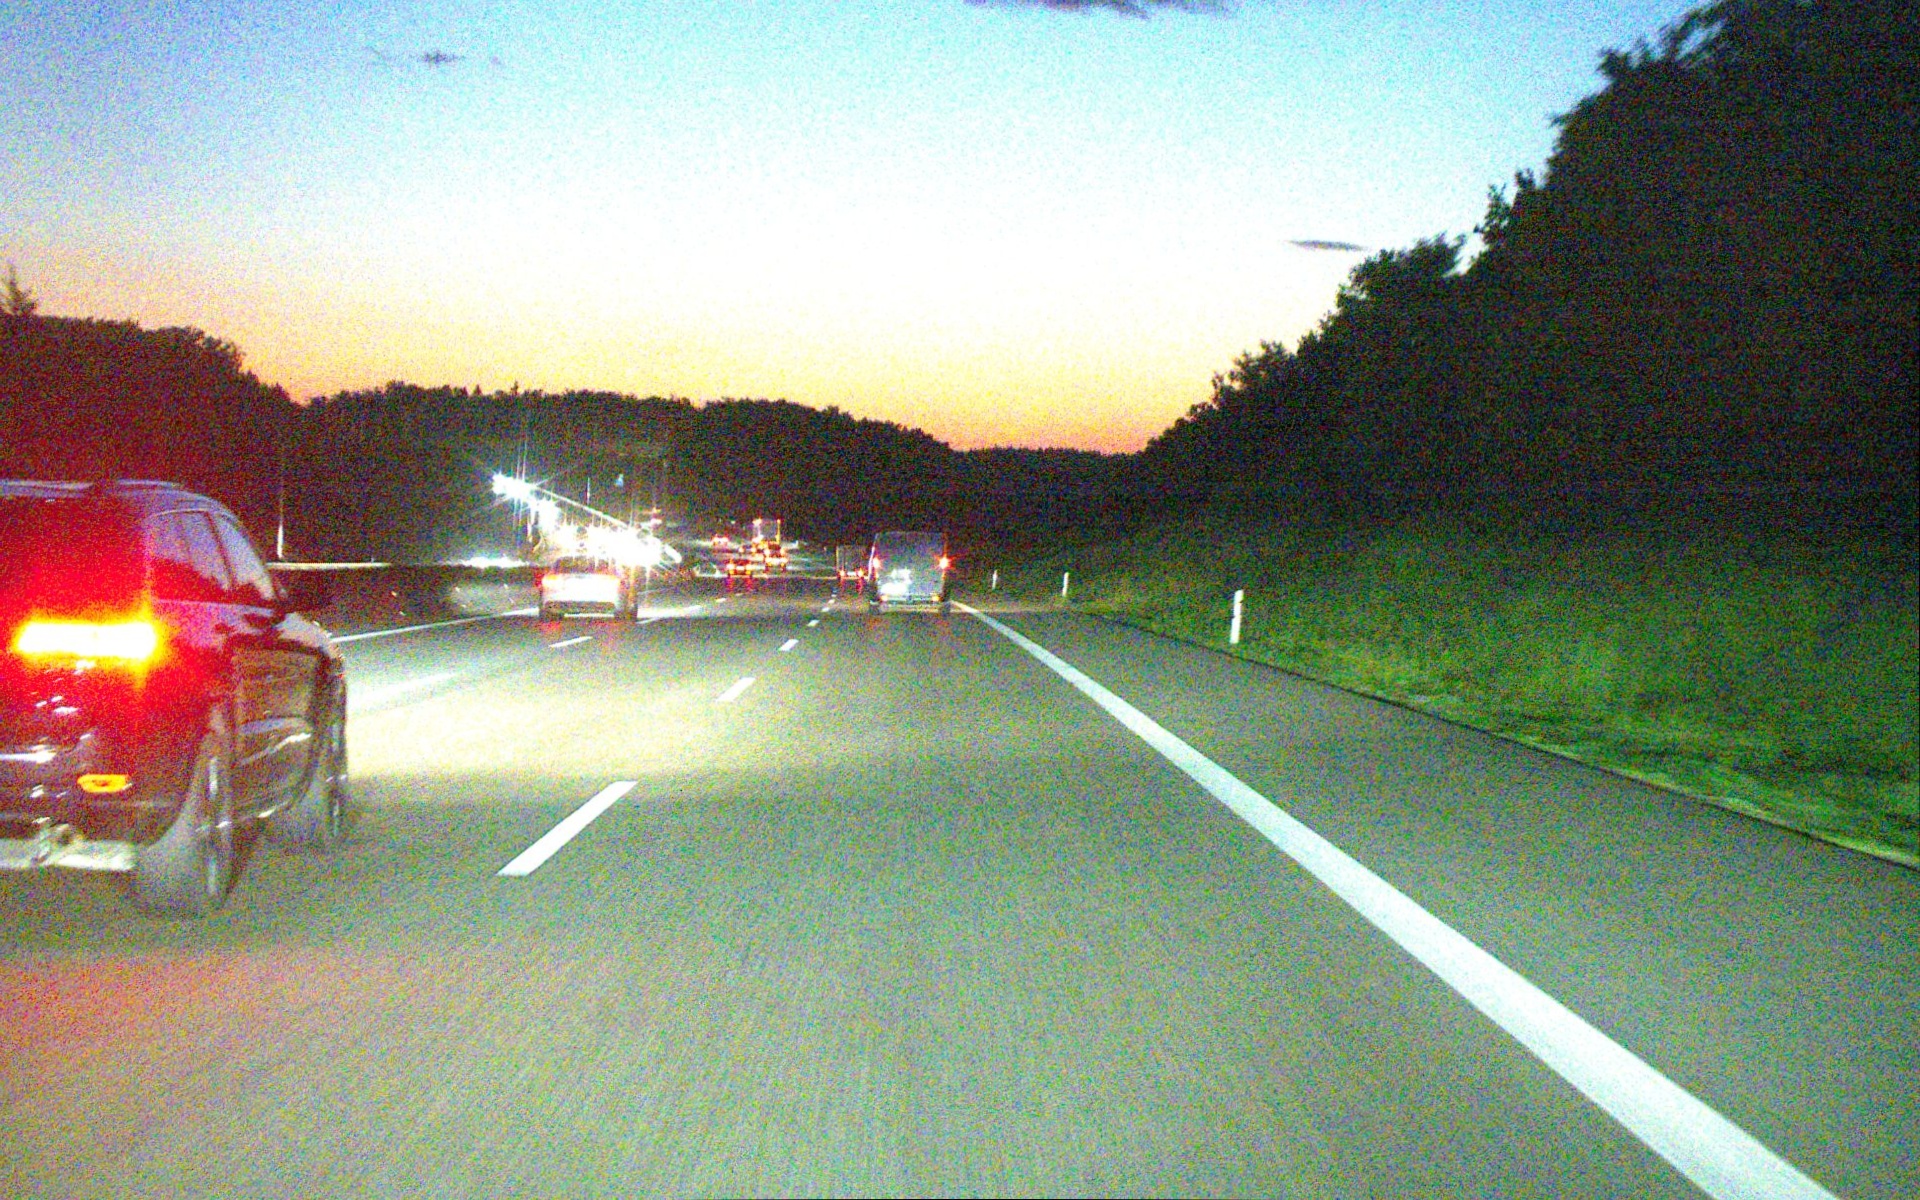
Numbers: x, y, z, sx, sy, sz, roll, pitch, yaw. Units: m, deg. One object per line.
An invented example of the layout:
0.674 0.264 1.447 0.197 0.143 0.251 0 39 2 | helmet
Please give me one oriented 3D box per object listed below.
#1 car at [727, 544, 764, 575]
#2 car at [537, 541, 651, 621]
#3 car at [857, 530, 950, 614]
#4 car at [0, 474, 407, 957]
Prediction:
-15.065 -2.850 241.680 2.196 1.948 4.634 3 2 0 | car
-7.756 -0.437 73.214 1.779 1.481 5.254 3 2 0 | car
-1.362 -0.721 83.635 2.196 1.948 4.764 0 2 -1 | car
-3.888 0.388 15.214 1.993 1.715 5.943 0 1 -1 | car
